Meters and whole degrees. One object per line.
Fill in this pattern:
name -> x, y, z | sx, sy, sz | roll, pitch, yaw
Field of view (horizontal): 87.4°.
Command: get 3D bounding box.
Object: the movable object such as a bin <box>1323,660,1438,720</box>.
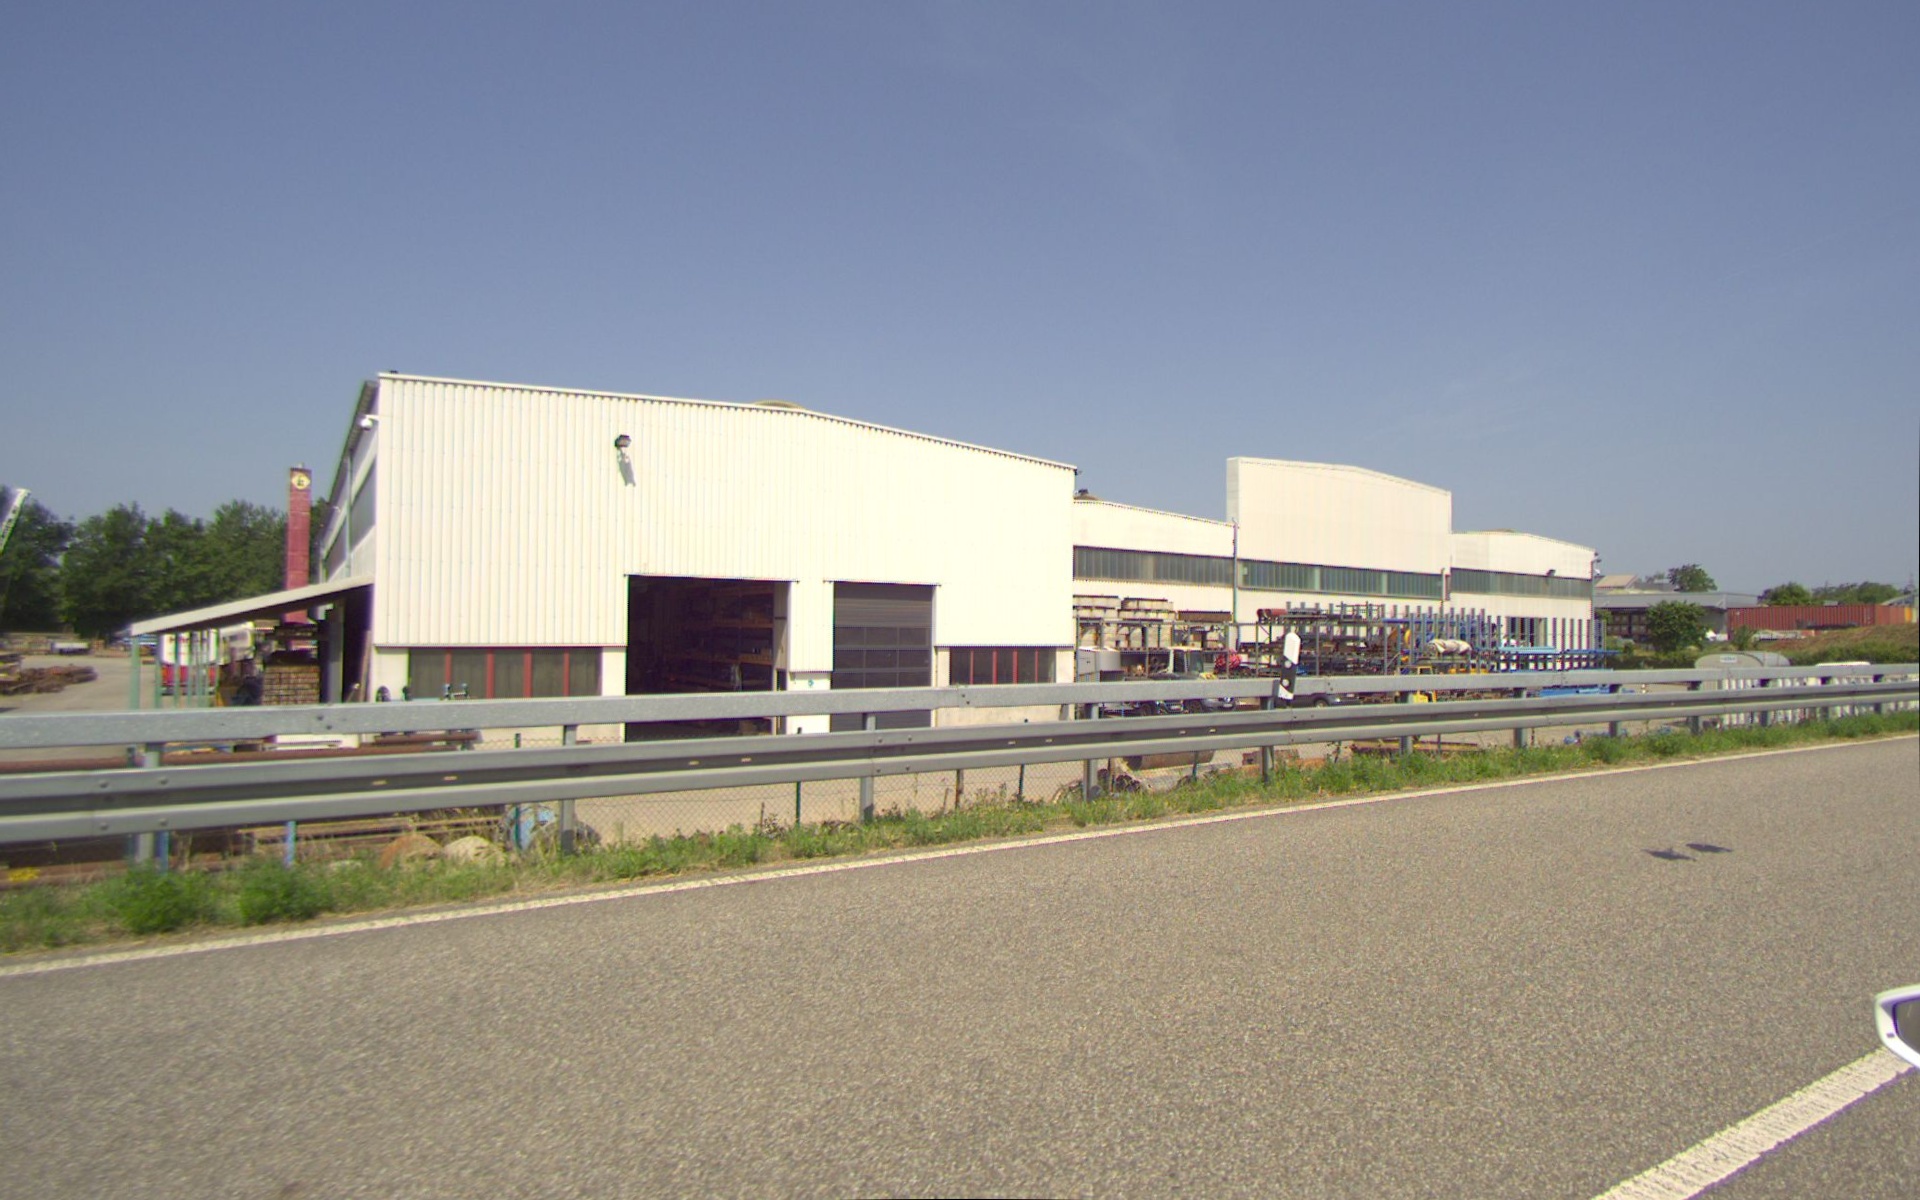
movable object such as a bin -> 16.834, 3.546, 40.338 | 1.835, 2.040, 3.834 | 2, 0, -36

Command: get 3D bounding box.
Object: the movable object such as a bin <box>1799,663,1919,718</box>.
movable object such as a bin -> 36.703, 3.490, 38.994 | 2.425, 2.045, 5.858 | 1, -4, -35

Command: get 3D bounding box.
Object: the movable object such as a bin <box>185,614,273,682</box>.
movable object such as a bin -> -39.923, 2.518, 55.089 | 3.153, 3.425, 7.083 | 1, -1, -31

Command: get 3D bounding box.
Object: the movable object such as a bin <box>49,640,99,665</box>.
movable object such as a bin -> -75.706, 4.481, 85.890 | 2.907, 2.039, 1.377 | 1, -4, -27

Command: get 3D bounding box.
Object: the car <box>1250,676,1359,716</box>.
car -> 13.927, 3.862, 40.805 | 1.708, 1.540, 3.962 | 2, -5, -35

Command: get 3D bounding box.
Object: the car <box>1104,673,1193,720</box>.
car -> 7.189, 3.703, 38.541 | 1.452, 1.696, 3.235 | 2, -6, -34

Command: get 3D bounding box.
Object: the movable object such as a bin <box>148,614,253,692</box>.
movable object such as a bin -> -36.167, 2.418, 48.078 | 3.151, 3.425, 6.074 | 1, -1, -30

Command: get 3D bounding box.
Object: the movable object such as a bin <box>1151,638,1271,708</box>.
movable object such as a bin -> 10.456, 3.114, 42.130 | 2.115, 2.714, 4.511 | 2, -6, -38

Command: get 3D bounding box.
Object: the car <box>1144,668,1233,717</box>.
car -> 8.921, 3.640, 39.365 | 1.657, 1.796, 3.115 | 2, -6, -33
